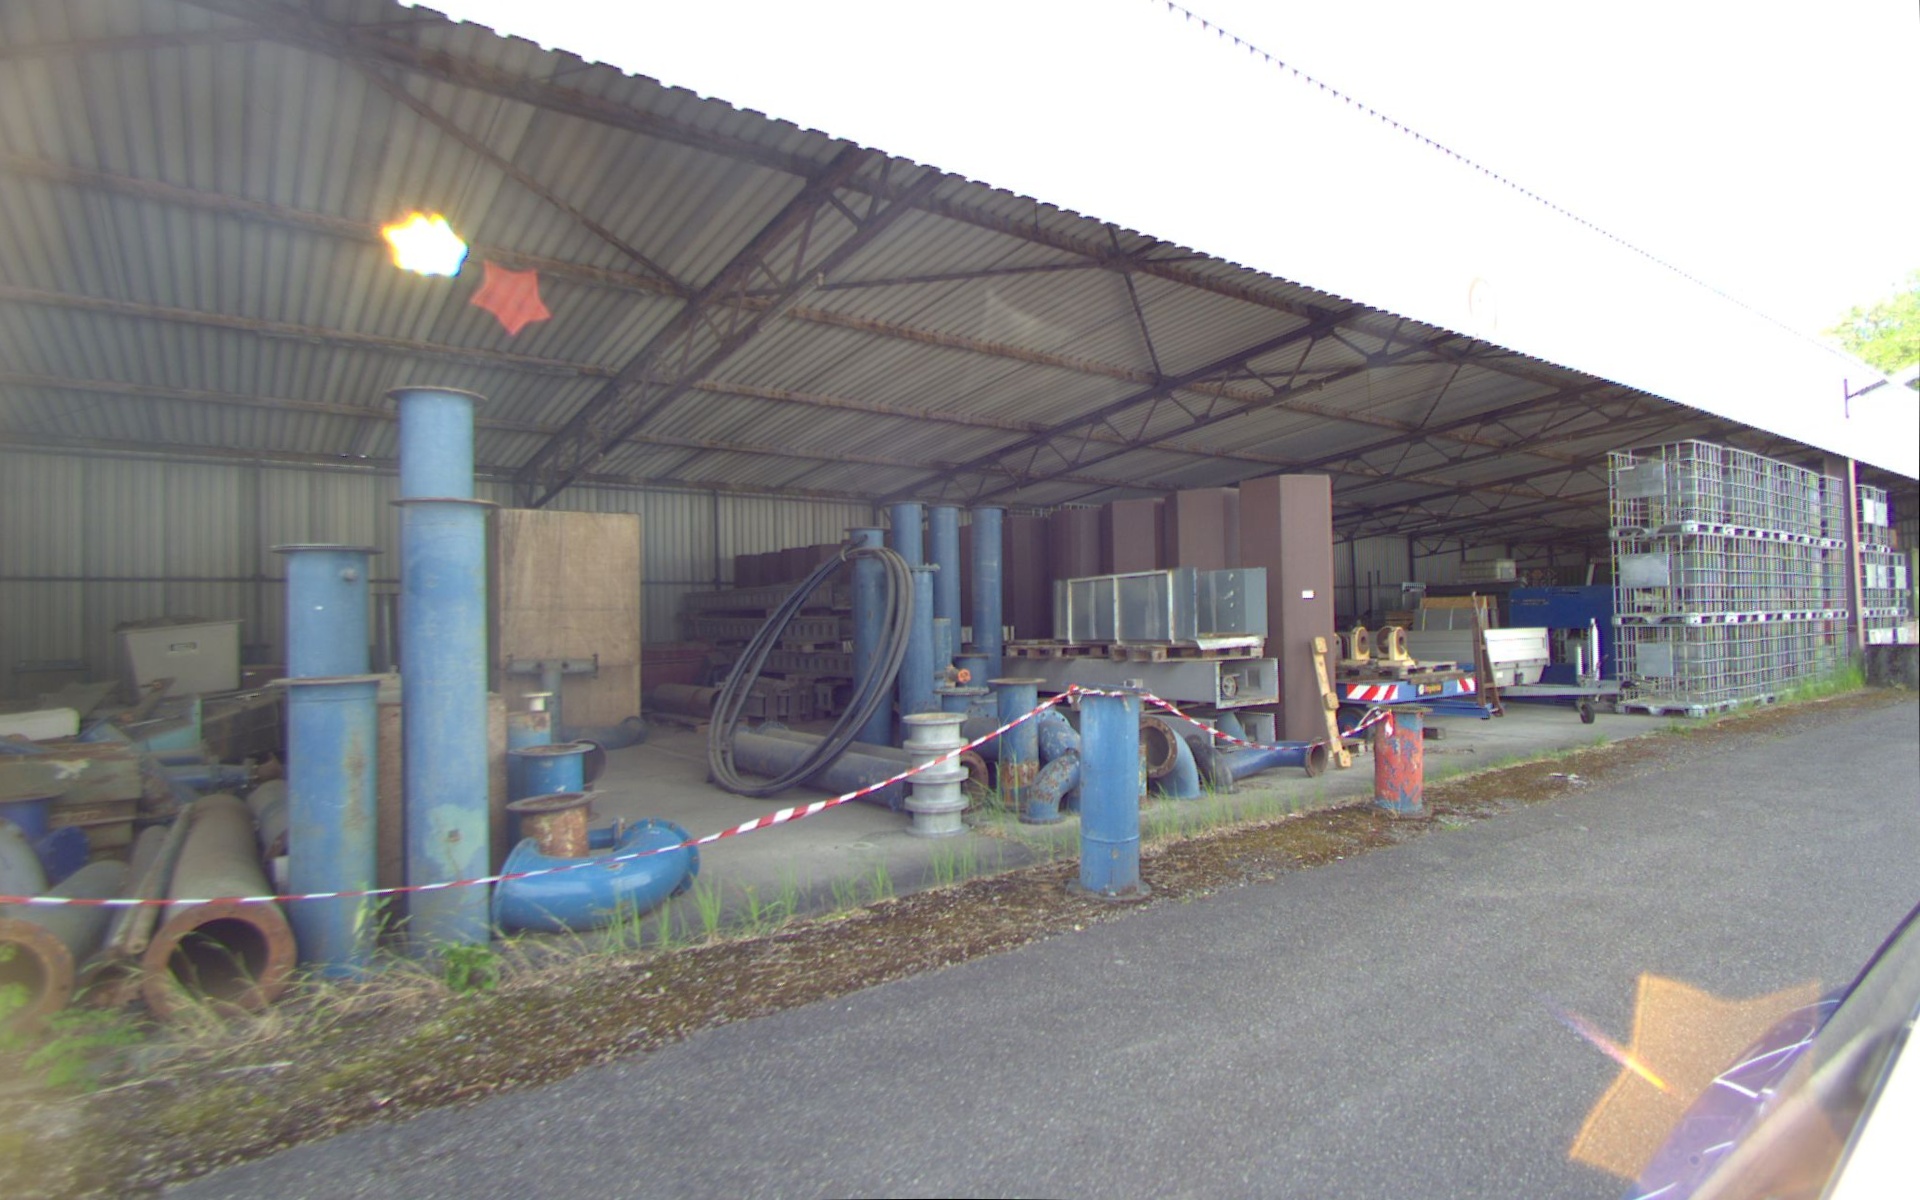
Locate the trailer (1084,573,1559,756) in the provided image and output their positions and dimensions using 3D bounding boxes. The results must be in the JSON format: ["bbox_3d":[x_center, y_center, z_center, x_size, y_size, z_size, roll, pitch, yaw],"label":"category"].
[{"bbox_3d":[3.867,0.626,11.725,1.992,1.649,4.879,0,-1,-37],"label":"trailer"}]

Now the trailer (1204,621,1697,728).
[{"bbox_3d":[6.325,0.878,13.927,1.992,1.134,5.836,0,-1,-37],"label":"trailer"}]
